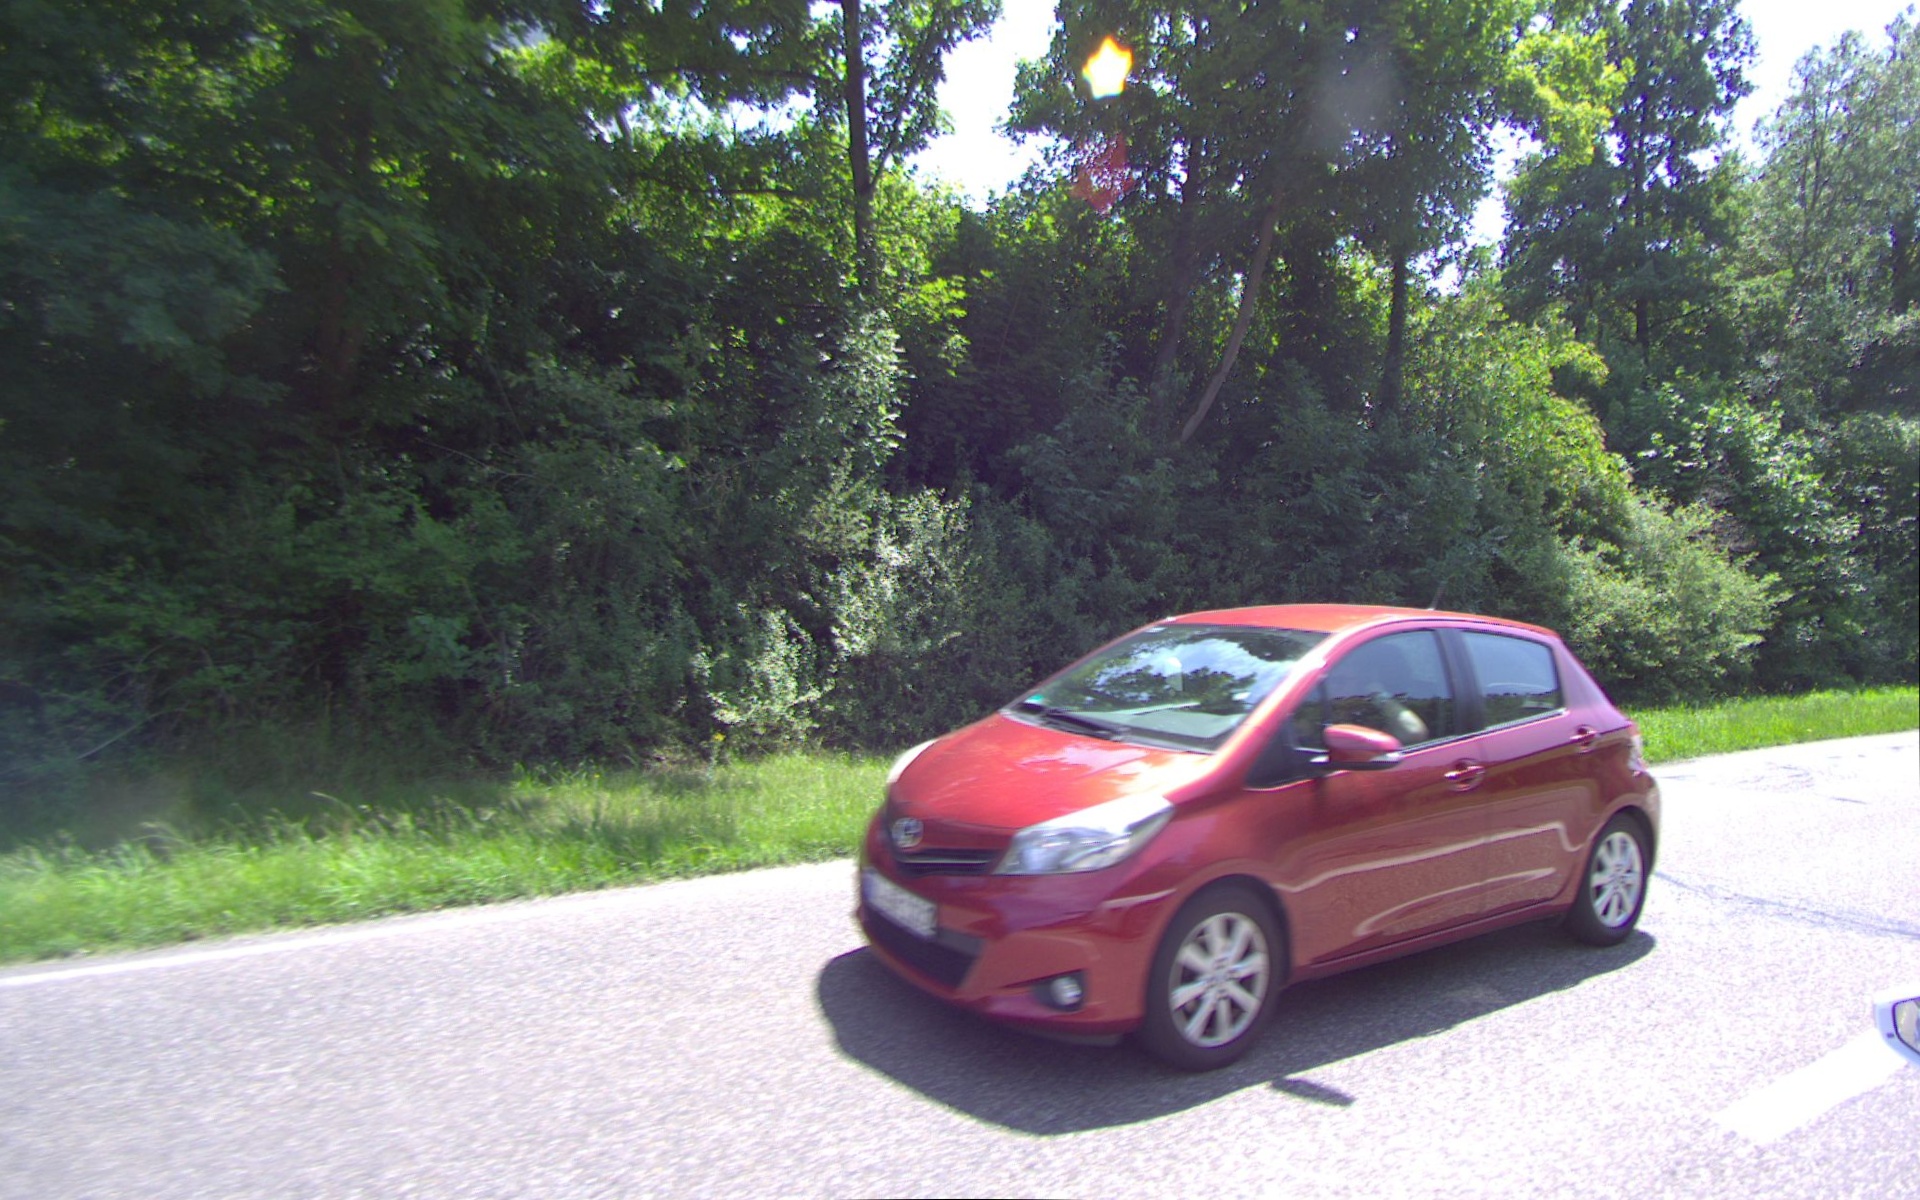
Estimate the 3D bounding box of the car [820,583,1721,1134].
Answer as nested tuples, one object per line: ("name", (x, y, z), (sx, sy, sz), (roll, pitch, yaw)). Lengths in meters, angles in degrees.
("car", (1.540, 0.743, 4.515), (3.955, 1.513, 1.673), (1, 0, -32))
